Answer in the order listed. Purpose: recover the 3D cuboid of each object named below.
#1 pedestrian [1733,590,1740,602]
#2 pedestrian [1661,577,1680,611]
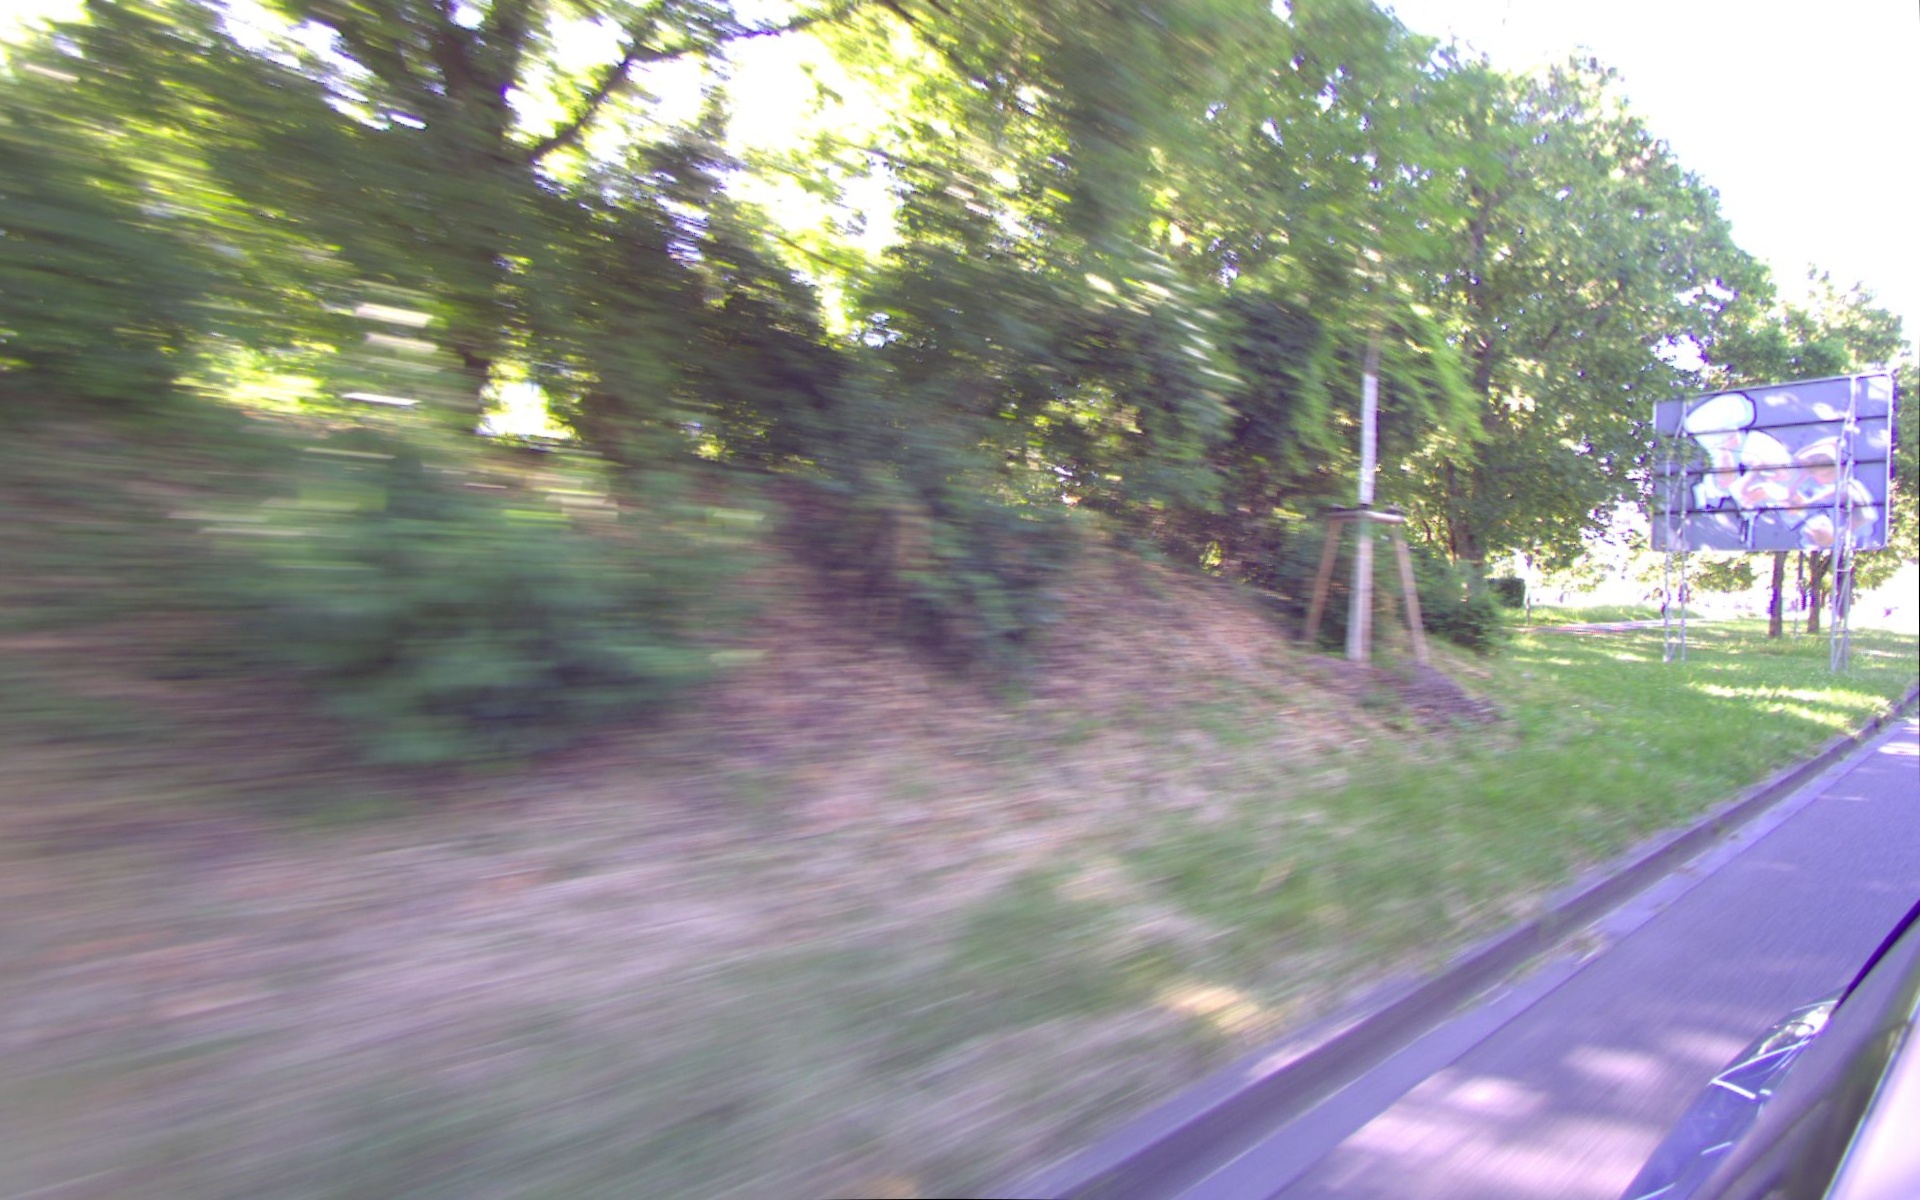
[{"bbox_3d":[112.465,-0.575,146.526,0.727,1.718,0.726,1,0,33],"label":"pedestrian"},{"bbox_3d":[38.277,-0.317,54.489,0.715,1.826,0.781,1,0,43],"label":"pedestrian"}]
